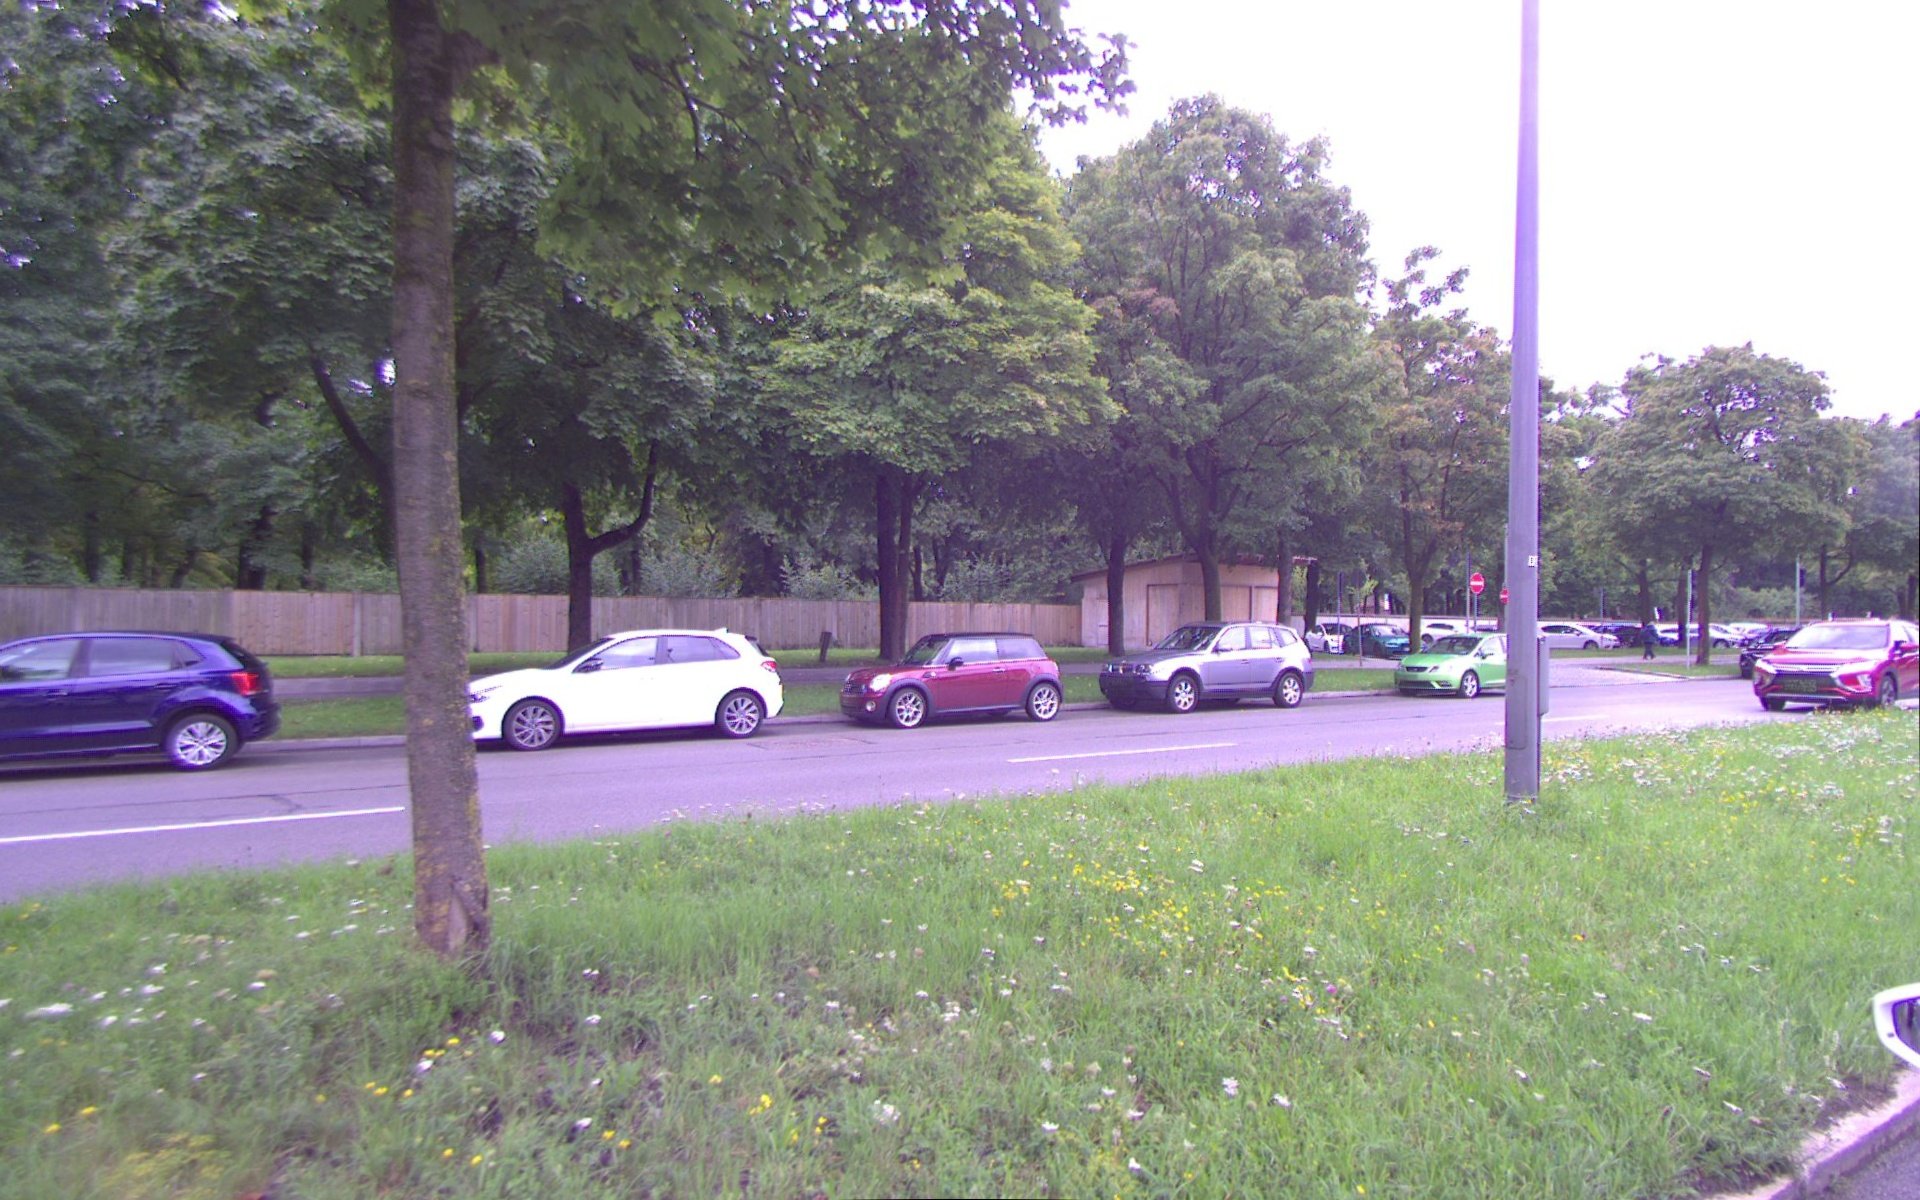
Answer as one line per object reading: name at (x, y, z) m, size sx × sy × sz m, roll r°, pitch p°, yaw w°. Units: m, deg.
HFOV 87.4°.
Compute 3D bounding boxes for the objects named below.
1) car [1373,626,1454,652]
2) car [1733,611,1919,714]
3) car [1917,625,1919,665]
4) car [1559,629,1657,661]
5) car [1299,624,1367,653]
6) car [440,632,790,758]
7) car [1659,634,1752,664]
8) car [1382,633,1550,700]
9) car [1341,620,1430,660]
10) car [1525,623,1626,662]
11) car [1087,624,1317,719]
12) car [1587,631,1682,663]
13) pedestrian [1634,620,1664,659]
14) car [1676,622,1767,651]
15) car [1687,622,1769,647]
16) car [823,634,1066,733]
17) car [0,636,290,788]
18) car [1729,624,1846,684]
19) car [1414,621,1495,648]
car at (28.851, 2.456, 64.027) m, size 1.652 × 1.465 × 4.672 m, roll 1°, pitch 0°, yaw -28°
car at (16.468, 1.124, 18.620) m, size 4.195 × 1.718 × 1.895 m, roll 1°, pitch -3°, yaw -30°
car at (39.707, 1.814, 39.852) m, size 3.835 × 1.579 × 1.582 m, roll 1°, pitch 0°, yaw -31°
car at (32.789, 2.254, 50.898) m, size 1.656 × 1.465 × 3.841 m, roll 1°, pitch 0°, yaw -35°
car at (17.416, 1.775, 47.090) m, size 1.639 × 1.217 × 4.421 m, roll 2°, pitch 0°, yaw 2°
car at (-4.554, 1.170, 13.473) m, size 4.229 × 1.463 × 1.600 m, roll 1°, pitch -2°, yaw -31°
car at (41.129, 2.658, 55.484) m, size 1.656 × 1.465 × 3.841 m, roll 1°, pitch 0°, yaw -35°
car at (11.734, 1.492, 23.270) m, size 3.830 × 1.428 × 1.542 m, roll 1°, pitch -2°, yaw -28°
car at (17.506, 1.612, 41.573) m, size 1.922 × 1.465 × 4.421 m, roll 2°, pitch 0°, yaw 2°
car at (30.320, 2.051, 49.578) m, size 1.656 × 1.740 × 3.893 m, roll 1°, pitch 0°, yaw -35°
car at (4.628, 1.284, 19.015) m, size 4.321 × 1.607 × 1.682 m, roll 1°, pitch -2°, yaw -31°
car at (35.819, 2.476, 53.415) m, size 1.656 × 1.465 × 3.841 m, roll 1°, pitch 0°, yaw -35°
pedestrian at (27.970, 1.608, 40.775) m, size 0.712 × 1.554 × 0.724 m, roll 1°, pitch 0°, yaw -30°
car at (43.577, 2.070, 57.526) m, size 1.656 × 1.465 × 3.841 m, roll 1°, pitch 0°, yaw -35°
car at (49.531, 2.217, 64.836) m, size 1.656 × 1.465 × 3.841 m, roll 1°, pitch 0°, yaw -35°
car at (-0.225, 1.266, 16.074) m, size 3.586 × 1.415 × 1.584 m, roll 1°, pitch -2°, yaw -29°
car at (-9.283, 1.103, 10.390) m, size 3.855 × 1.436 × 1.604 m, roll 1°, pitch -2°, yaw -33°
car at (26.380, 1.675, 32.013) m, size 3.835 × 1.764 × 1.708 m, roll 1°, pitch 0°, yaw -31°
car at (31.636, 2.185, 64.408) m, size 1.652 × 1.496 × 4.486 m, roll 2°, pitch 0°, yaw -29°
